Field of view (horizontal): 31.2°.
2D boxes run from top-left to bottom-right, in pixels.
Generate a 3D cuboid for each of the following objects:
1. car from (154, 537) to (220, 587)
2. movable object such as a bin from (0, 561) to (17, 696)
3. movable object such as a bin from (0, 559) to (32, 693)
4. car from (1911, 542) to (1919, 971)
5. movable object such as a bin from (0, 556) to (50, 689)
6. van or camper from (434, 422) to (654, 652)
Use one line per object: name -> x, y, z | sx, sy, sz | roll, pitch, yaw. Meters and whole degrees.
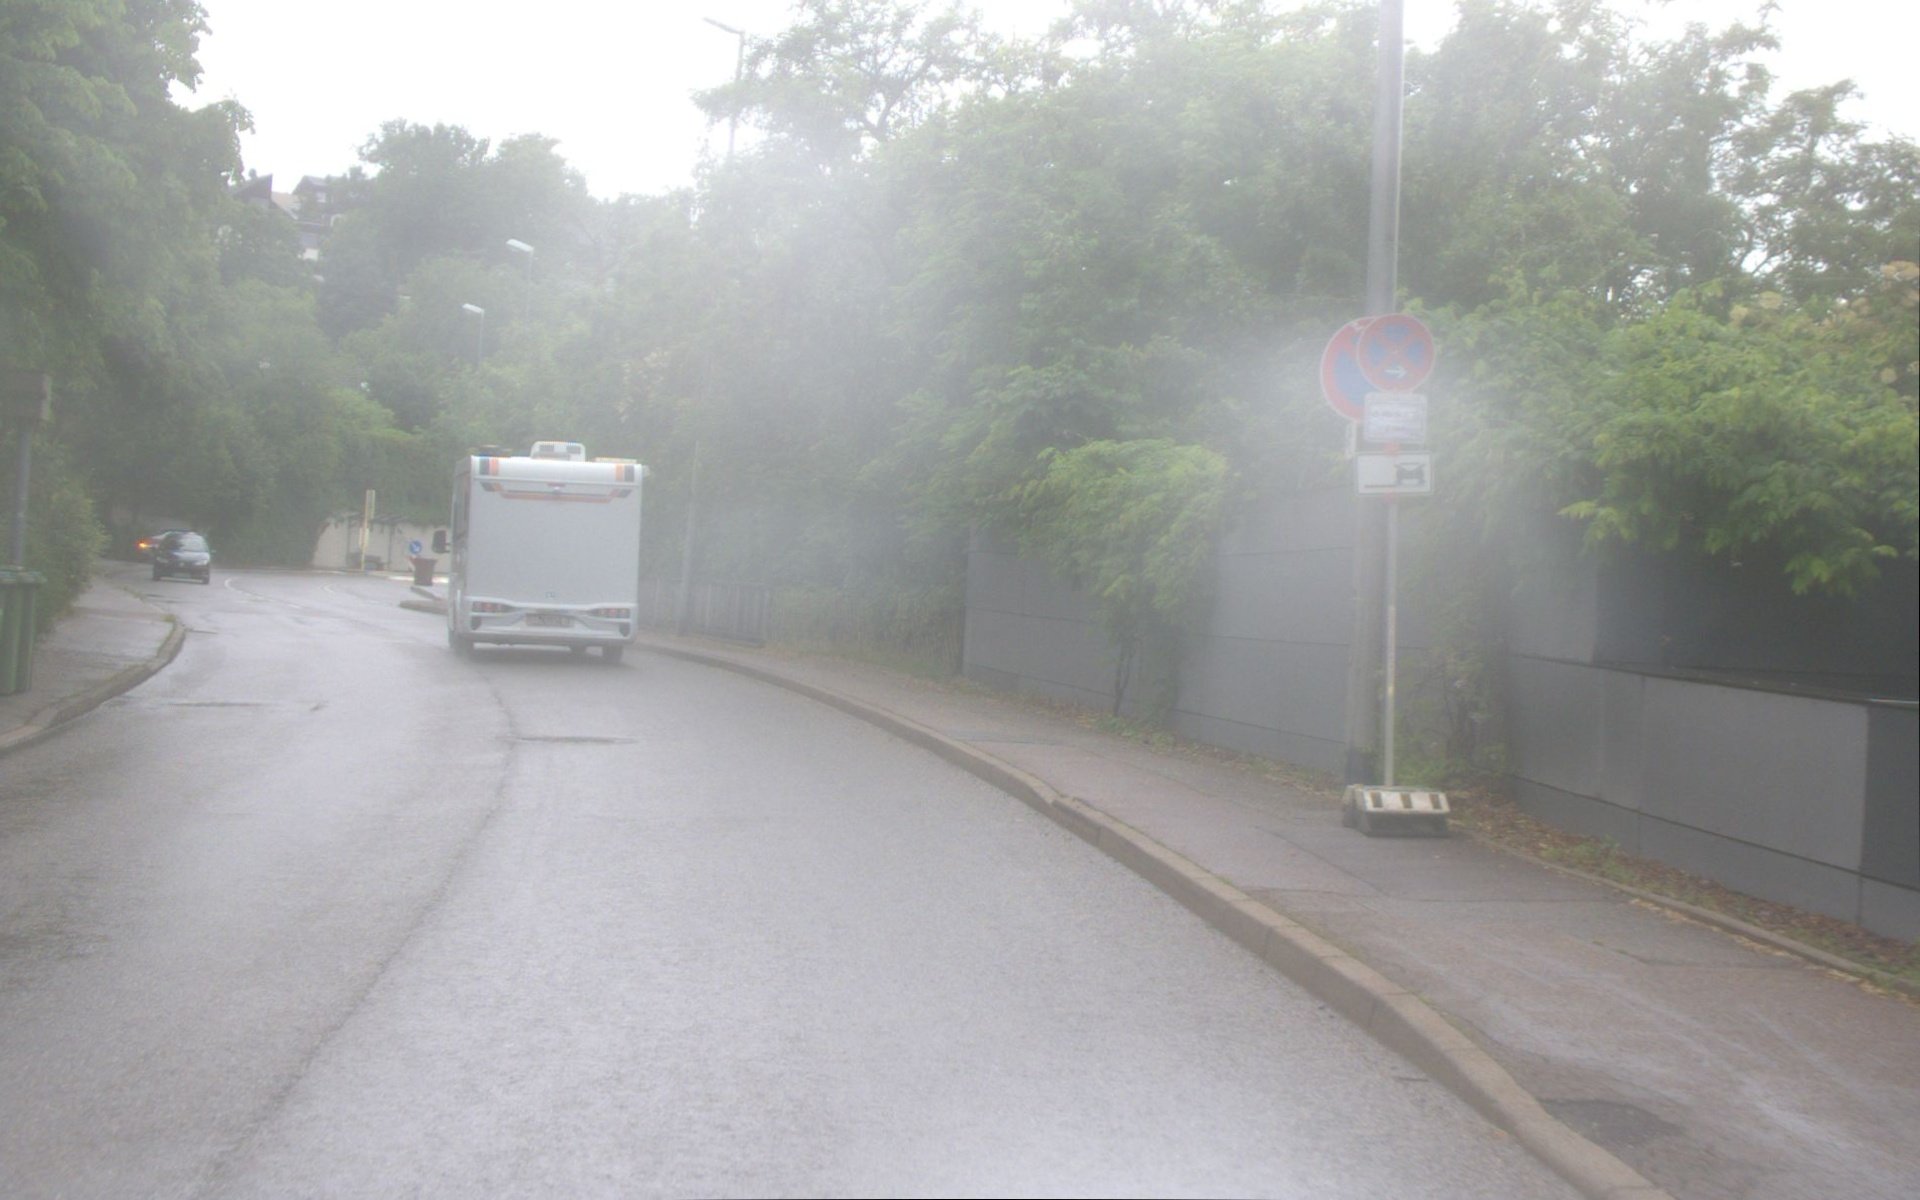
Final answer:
car -> -22.870, -1.132, 101.803 | 1.650, 1.380, 3.530 | 3, 0, -9
movable object such as a bin -> -8.101, 0.219, 28.076 | 0.648, 1.077, 0.673 | 2, 1, -7
movable object such as a bin -> -8.179, 0.208, 28.818 | 0.648, 1.100, 0.673 | 2, 1, -7
car -> 5.553, 0.639, 13.320 | 1.993, 1.934, 4.773 | 1, -2, -6
movable object such as a bin -> -8.173, 0.183, 29.432 | 0.648, 1.111, 0.505 | 2, 1, -7
van or camper -> -5.761, -0.801, 46.936 | 2.539, 2.915, 5.949 | 1, 0, -11
